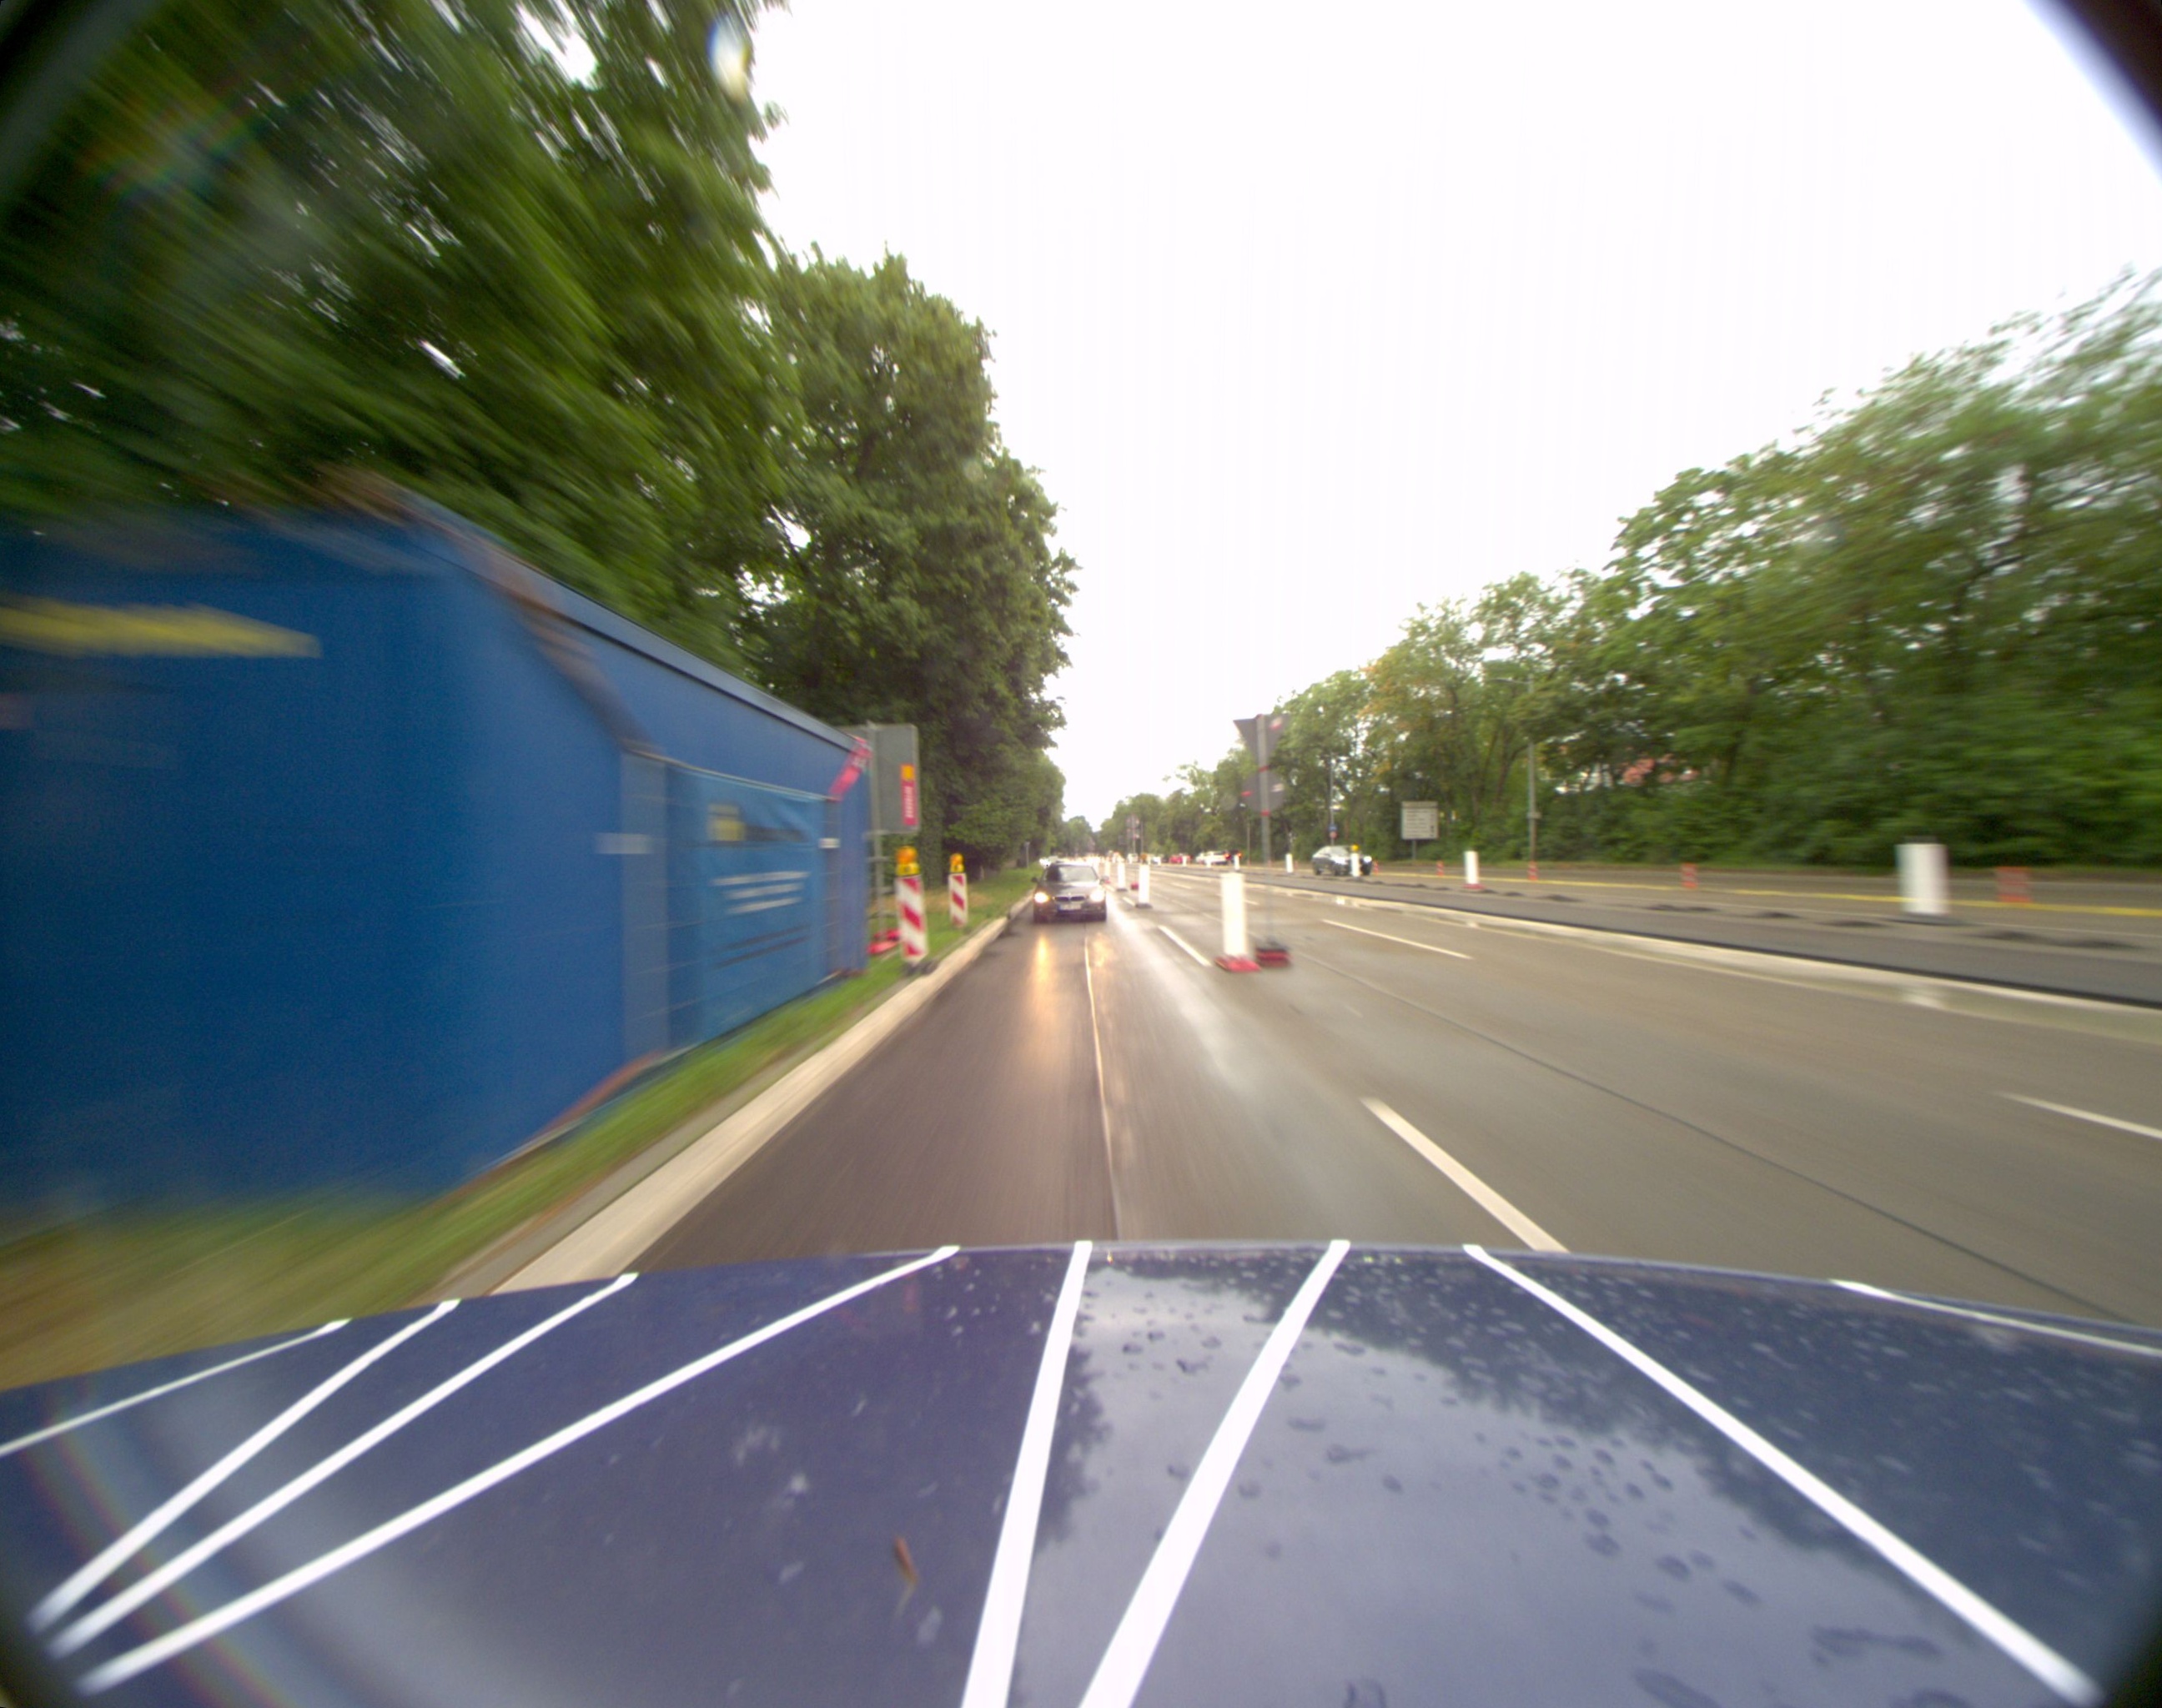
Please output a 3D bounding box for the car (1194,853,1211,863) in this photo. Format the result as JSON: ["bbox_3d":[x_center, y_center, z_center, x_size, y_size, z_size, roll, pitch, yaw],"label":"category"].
[{"bbox_3d":[17.629,0.584,110.556,1.683,1.487,4.148,0,0,-2],"label":"car"}]

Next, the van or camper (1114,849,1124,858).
[{"bbox_3d":[11.496,-0.231,228.812,1.999,2.540,7.727,-3,0,-3],"label":"van or camper"}]

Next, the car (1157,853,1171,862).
[{"bbox_3d":[14.139,0.563,129.415,1.781,1.479,4.195,-2,0,-3],"label":"car"}]

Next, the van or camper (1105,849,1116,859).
[{"bbox_3d":[10.030,-0.034,258.915,2.305,3.045,7.445,-2,0,-10],"label":"van or camper"}]

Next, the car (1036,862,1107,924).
[{"bbox_3d":[-0.343,0.939,19.823,1.658,1.409,4.127,0,0,-4],"label":"car"}]

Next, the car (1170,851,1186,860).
[{"bbox_3d":[14.778,0.213,115.777,1.683,1.392,4.012,-2,0,-2],"label":"car"}]

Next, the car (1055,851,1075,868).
[{"bbox_3d":[-1.667,0.510,79.505,1.999,1.707,3.999,-1,0,-1],"label":"car"}]

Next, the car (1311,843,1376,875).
[{"bbox_3d":[14.752,0.264,42.981,1.999,1.619,4.811,-2,0,0],"label":"car"}]

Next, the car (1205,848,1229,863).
[{"bbox_3d":[16.391,0.160,91.790,1.895,1.651,4.892,-2,0,-2],"label":"car"}]
